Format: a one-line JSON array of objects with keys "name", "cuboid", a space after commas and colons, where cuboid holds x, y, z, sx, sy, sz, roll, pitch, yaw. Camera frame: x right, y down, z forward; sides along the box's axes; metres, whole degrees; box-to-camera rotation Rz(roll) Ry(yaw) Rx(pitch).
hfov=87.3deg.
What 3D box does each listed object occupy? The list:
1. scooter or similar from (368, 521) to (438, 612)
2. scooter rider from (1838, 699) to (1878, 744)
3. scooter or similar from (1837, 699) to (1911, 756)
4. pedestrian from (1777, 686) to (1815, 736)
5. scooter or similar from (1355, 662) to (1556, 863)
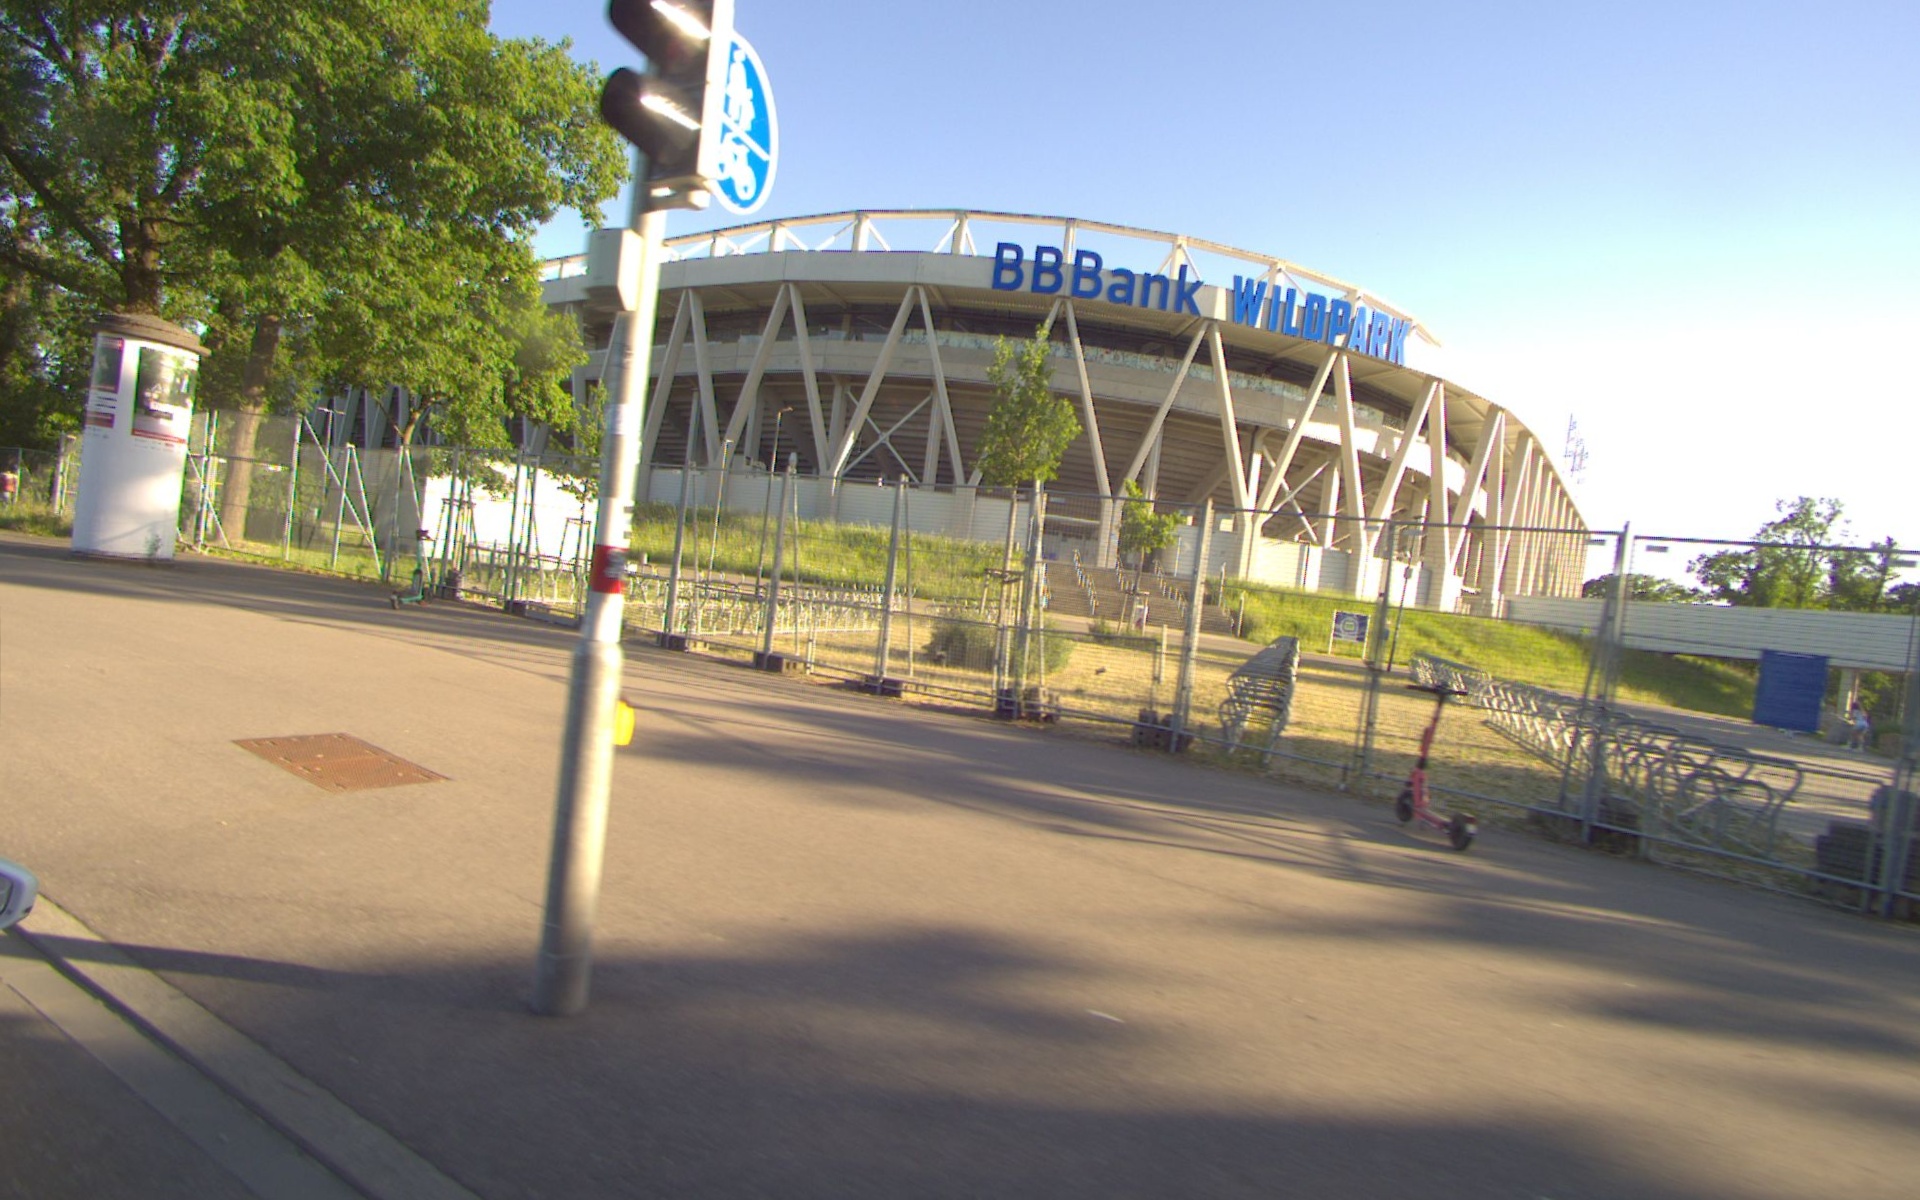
[{"name": "scooter or similar", "cuboid": [-8.600, -0.523, 15.588, 0.561, 1.272, 1.592, 7, 1, -19]}, {"name": "scooter rider", "cuboid": [28.184, 3.809, 31.581, 0.595, 1.289, 0.545, 8, 0, 4]}, {"name": "scooter or similar", "cuboid": [28.610, 3.970, 31.511, 1.500, 1.508, 0.648, 8, 0, 3]}, {"name": "pedestrian", "cuboid": [28.317, 3.759, 34.074, 0.722, 1.581, 0.581, 8, 0, 28]}, {"name": "scooter or similar", "cuboid": [3.876, 1.234, 7.998, 0.594, 1.305, 1.358, 7, 1, -10]}]
